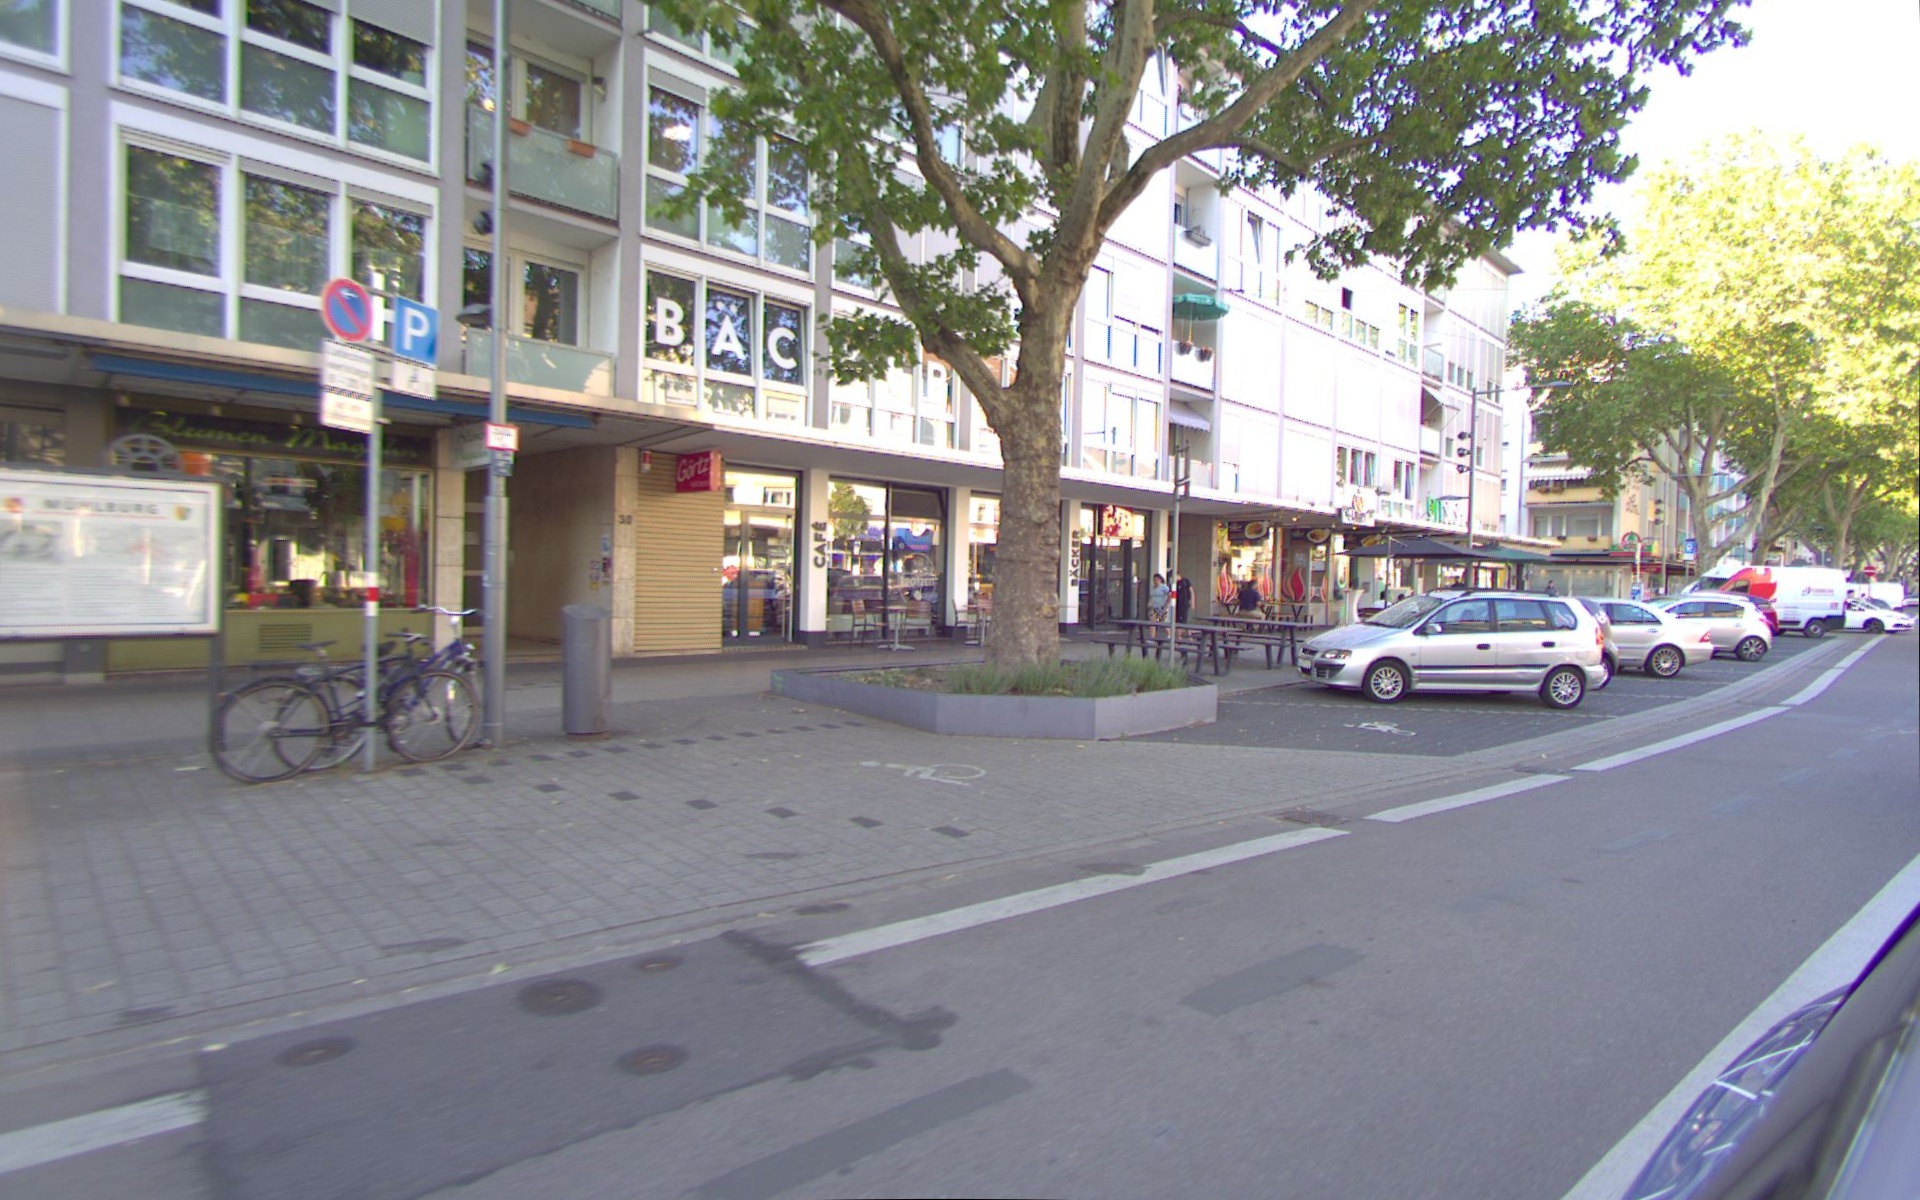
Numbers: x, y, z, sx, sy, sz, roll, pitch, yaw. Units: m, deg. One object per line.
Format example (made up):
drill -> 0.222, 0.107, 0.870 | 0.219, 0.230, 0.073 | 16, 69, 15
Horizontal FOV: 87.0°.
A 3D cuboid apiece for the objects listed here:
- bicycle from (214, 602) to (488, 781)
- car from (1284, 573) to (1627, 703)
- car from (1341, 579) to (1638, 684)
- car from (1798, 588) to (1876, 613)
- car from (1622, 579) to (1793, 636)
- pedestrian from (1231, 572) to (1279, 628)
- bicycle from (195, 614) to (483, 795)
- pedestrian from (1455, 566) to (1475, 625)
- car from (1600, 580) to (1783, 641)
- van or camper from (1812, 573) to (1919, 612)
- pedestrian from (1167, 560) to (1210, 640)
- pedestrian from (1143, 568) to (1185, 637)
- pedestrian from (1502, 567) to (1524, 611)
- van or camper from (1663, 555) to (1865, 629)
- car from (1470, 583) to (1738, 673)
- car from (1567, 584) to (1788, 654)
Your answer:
bicycle -> -4.321, 0.594, 7.308 | 0.293, 1.114, 1.696 | 5, 4, 35
car -> 6.888, 0.484, 14.366 | 3.922, 1.626, 1.811 | 1, 1, -2
car -> 8.665, 0.479, 16.806 | 3.922, 1.525, 1.811 | 1, 2, -2
car -> 53.770, 0.023, 62.110 | 3.272, 1.363, 1.530 | 2, 3, 6
car -> 23.301, 0.208, 31.674 | 3.930, 1.582, 1.658 | 2, 3, 6
pedestrian -> 7.553, -0.005, 25.903 | 0.945, 1.379, 0.750 | 0, 2, -40
bicycle -> -4.204, 0.653, 6.989 | 0.293, 1.053, 1.696 | 5, 4, 35
pedestrian -> 17.645, -0.141, 35.359 | 0.548, 2.039, 0.571 | 0, -1, 31
car -> 21.136, 0.284, 29.369 | 3.930, 1.541, 1.658 | 2, 3, 6
van or camper -> 61.858, -0.532, 69.128 | 5.363, 2.499, 1.999 | 1, 1, 3
pedestrian -> 4.771, -0.012, 21.141 | 0.537, 1.610, 0.676 | 5, 4, 44
pedestrian -> 4.344, 0.044, 21.579 | 0.537, 1.417, 0.676 | 5, 4, 44
pedestrian -> 21.040, -0.423, 38.491 | 0.532, 1.610, 0.683 | 3, 3, 19
van or camper -> 28.861, -0.309, 36.482 | 5.367, 2.499, 1.997 | 1, 1, 6
car -> 12.119, 0.496, 19.244 | 3.926, 1.454, 1.660 | 2, 3, 2
car -> 17.084, 0.419, 24.248 | 3.930, 1.454, 1.658 | 2, 3, 6
